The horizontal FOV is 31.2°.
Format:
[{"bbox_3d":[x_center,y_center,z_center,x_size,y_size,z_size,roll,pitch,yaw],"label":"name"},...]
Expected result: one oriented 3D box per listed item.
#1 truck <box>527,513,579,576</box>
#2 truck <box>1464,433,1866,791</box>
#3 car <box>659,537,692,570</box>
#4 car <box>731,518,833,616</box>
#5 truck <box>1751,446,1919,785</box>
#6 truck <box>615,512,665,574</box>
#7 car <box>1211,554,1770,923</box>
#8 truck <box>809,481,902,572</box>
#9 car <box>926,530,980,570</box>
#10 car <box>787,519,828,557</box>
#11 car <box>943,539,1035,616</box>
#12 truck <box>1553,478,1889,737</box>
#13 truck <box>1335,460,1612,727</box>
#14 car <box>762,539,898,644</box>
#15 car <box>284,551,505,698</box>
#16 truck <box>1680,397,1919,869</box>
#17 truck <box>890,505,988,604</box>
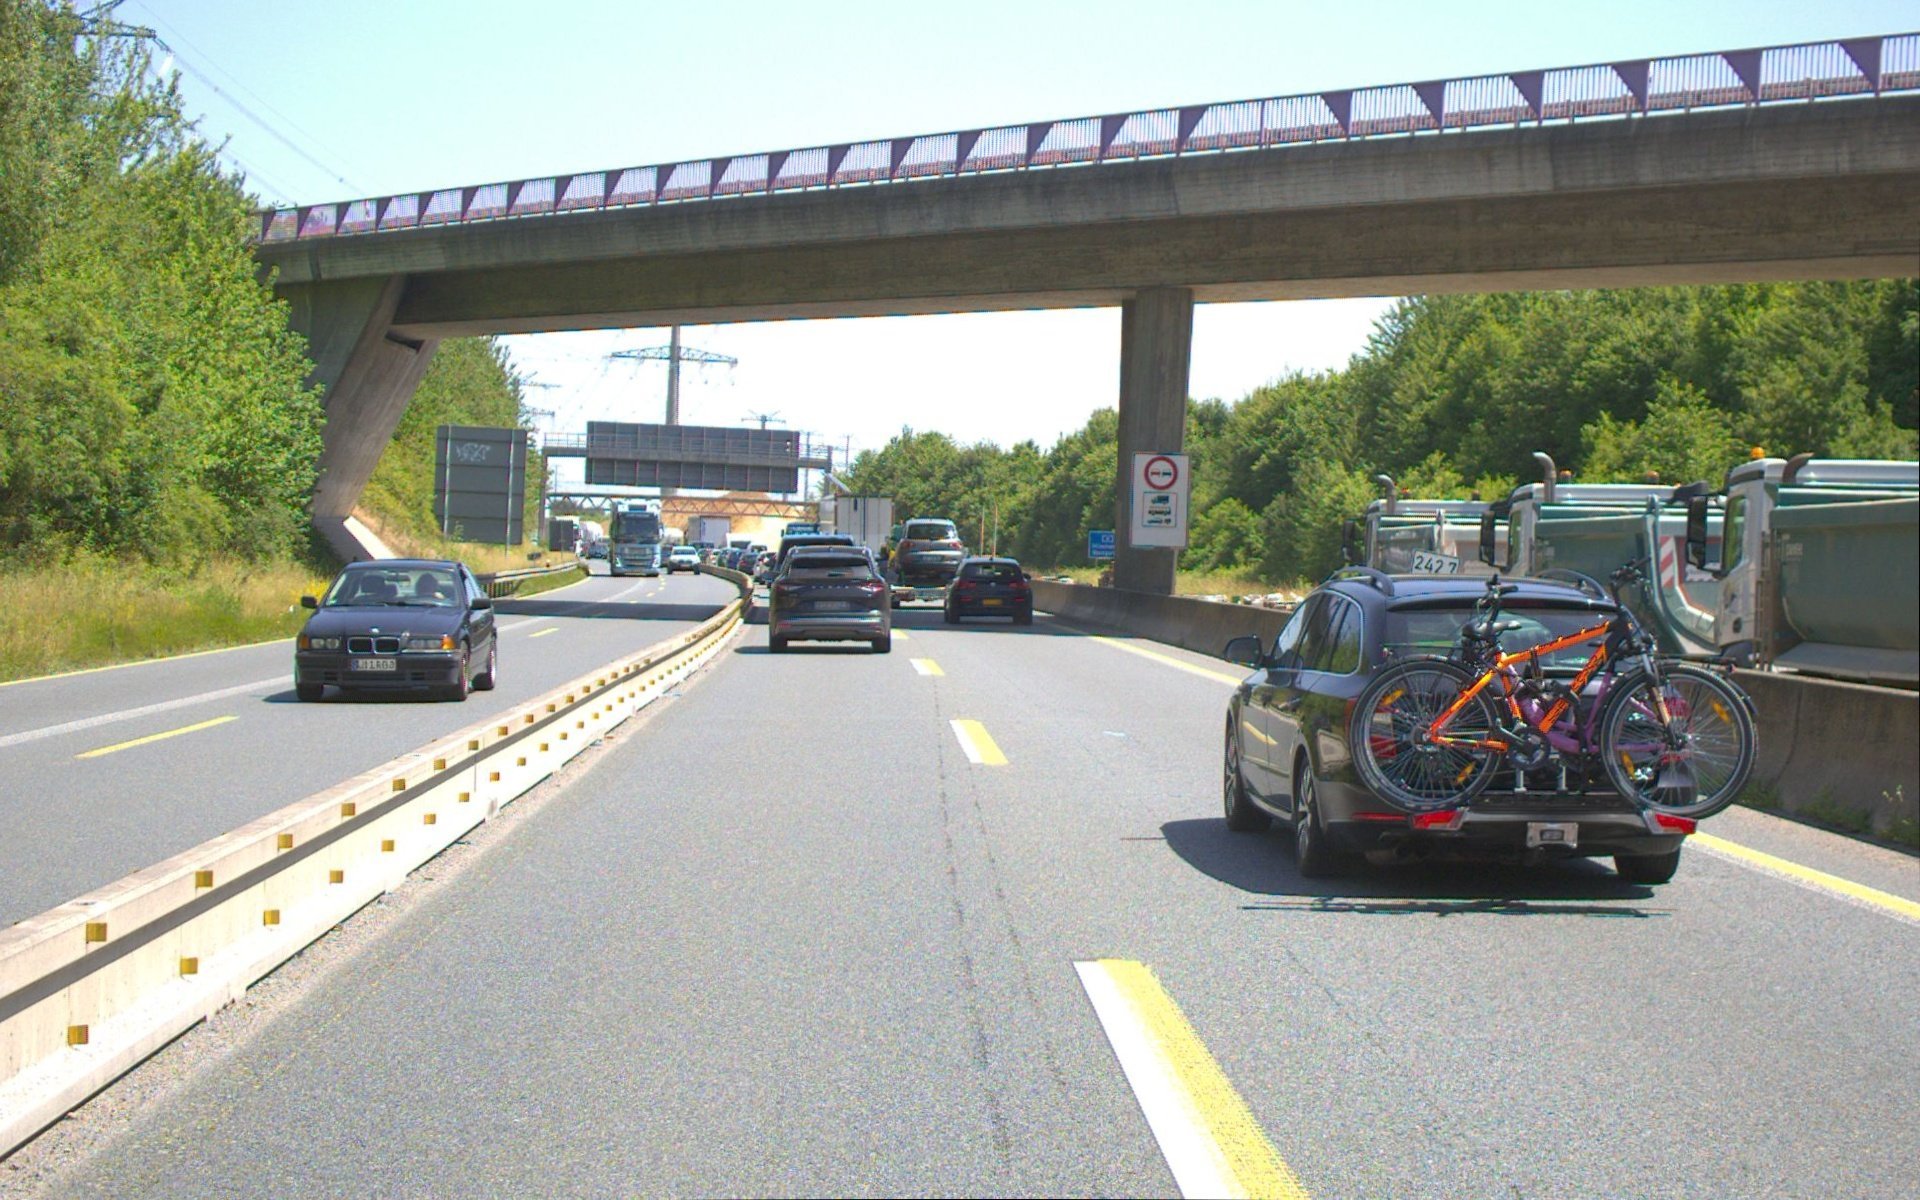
[{"bbox_3d":[-21.231,-2.923,179.823,2.508,3.175,10.112,1,1,-6],"label":"truck"},{"bbox_3d":[8.359,0.058,42.085,2.687,3.843,9.326,1,1,-2],"label":"truck"},{"bbox_3d":[-16.500,-2.693,199.163,1.762,1.831,4.001,1,0,-6],"label":"car"},{"bbox_3d":[-3.731,-0.703,72.566,1.899,1.962,4.276,1,1,0],"label":"car"},{"bbox_3d":[11.803,0.157,40.035,2.687,3.714,9.326,1,1,-2],"label":"truck"},{"bbox_3d":[-17.258,-3.073,185.004,2.508,3.175,10.112,1,1,-6],"label":"truck"},{"bbox_3d":[2.370,0.553,16.661,1.899,1.485,4.947,1,0,0],"label":"car"},{"bbox_3d":[-4.681,-3.242,152.104,3.292,3.832,10.112,1,1,-6],"label":"truck"},{"bbox_3d":[-0.320,-2.063,142.096,1.899,1.580,4.277,1,1,-4],"label":"car"},{"bbox_3d":[-8.339,-3.377,187.636,1.899,1.962,4.277,1,1,-6],"label":"car"},{"bbox_3d":[0.594,-0.498,74.304,1.899,1.580,4.276,1,1,0],"label":"car"},{"bbox_3d":[11.355,0.036,52.328,2.687,3.545,9.326,1,1,-2],"label":"truck"},{"bbox_3d":[7.984,-0.170,54.692,2.687,3.830,9.326,1,1,-2],"label":"truck"},{"bbox_3d":[-1.948,-0.155,52.681,1.899,1.500,4.276,1,1,0],"label":"car"},{"bbox_3d":[-5.733,0.218,35.267,1.673,1.389,4.071,1,0,-2],"label":"car"},{"bbox_3d":[8.888,0.224,30.612,2.687,3.748,9.326,1,1,-2],"label":"truck"},{"bbox_3d":[-0.636,-1.268,93.675,2.405,2.549,7.501,1,1,-2],"label":"truck"}]
